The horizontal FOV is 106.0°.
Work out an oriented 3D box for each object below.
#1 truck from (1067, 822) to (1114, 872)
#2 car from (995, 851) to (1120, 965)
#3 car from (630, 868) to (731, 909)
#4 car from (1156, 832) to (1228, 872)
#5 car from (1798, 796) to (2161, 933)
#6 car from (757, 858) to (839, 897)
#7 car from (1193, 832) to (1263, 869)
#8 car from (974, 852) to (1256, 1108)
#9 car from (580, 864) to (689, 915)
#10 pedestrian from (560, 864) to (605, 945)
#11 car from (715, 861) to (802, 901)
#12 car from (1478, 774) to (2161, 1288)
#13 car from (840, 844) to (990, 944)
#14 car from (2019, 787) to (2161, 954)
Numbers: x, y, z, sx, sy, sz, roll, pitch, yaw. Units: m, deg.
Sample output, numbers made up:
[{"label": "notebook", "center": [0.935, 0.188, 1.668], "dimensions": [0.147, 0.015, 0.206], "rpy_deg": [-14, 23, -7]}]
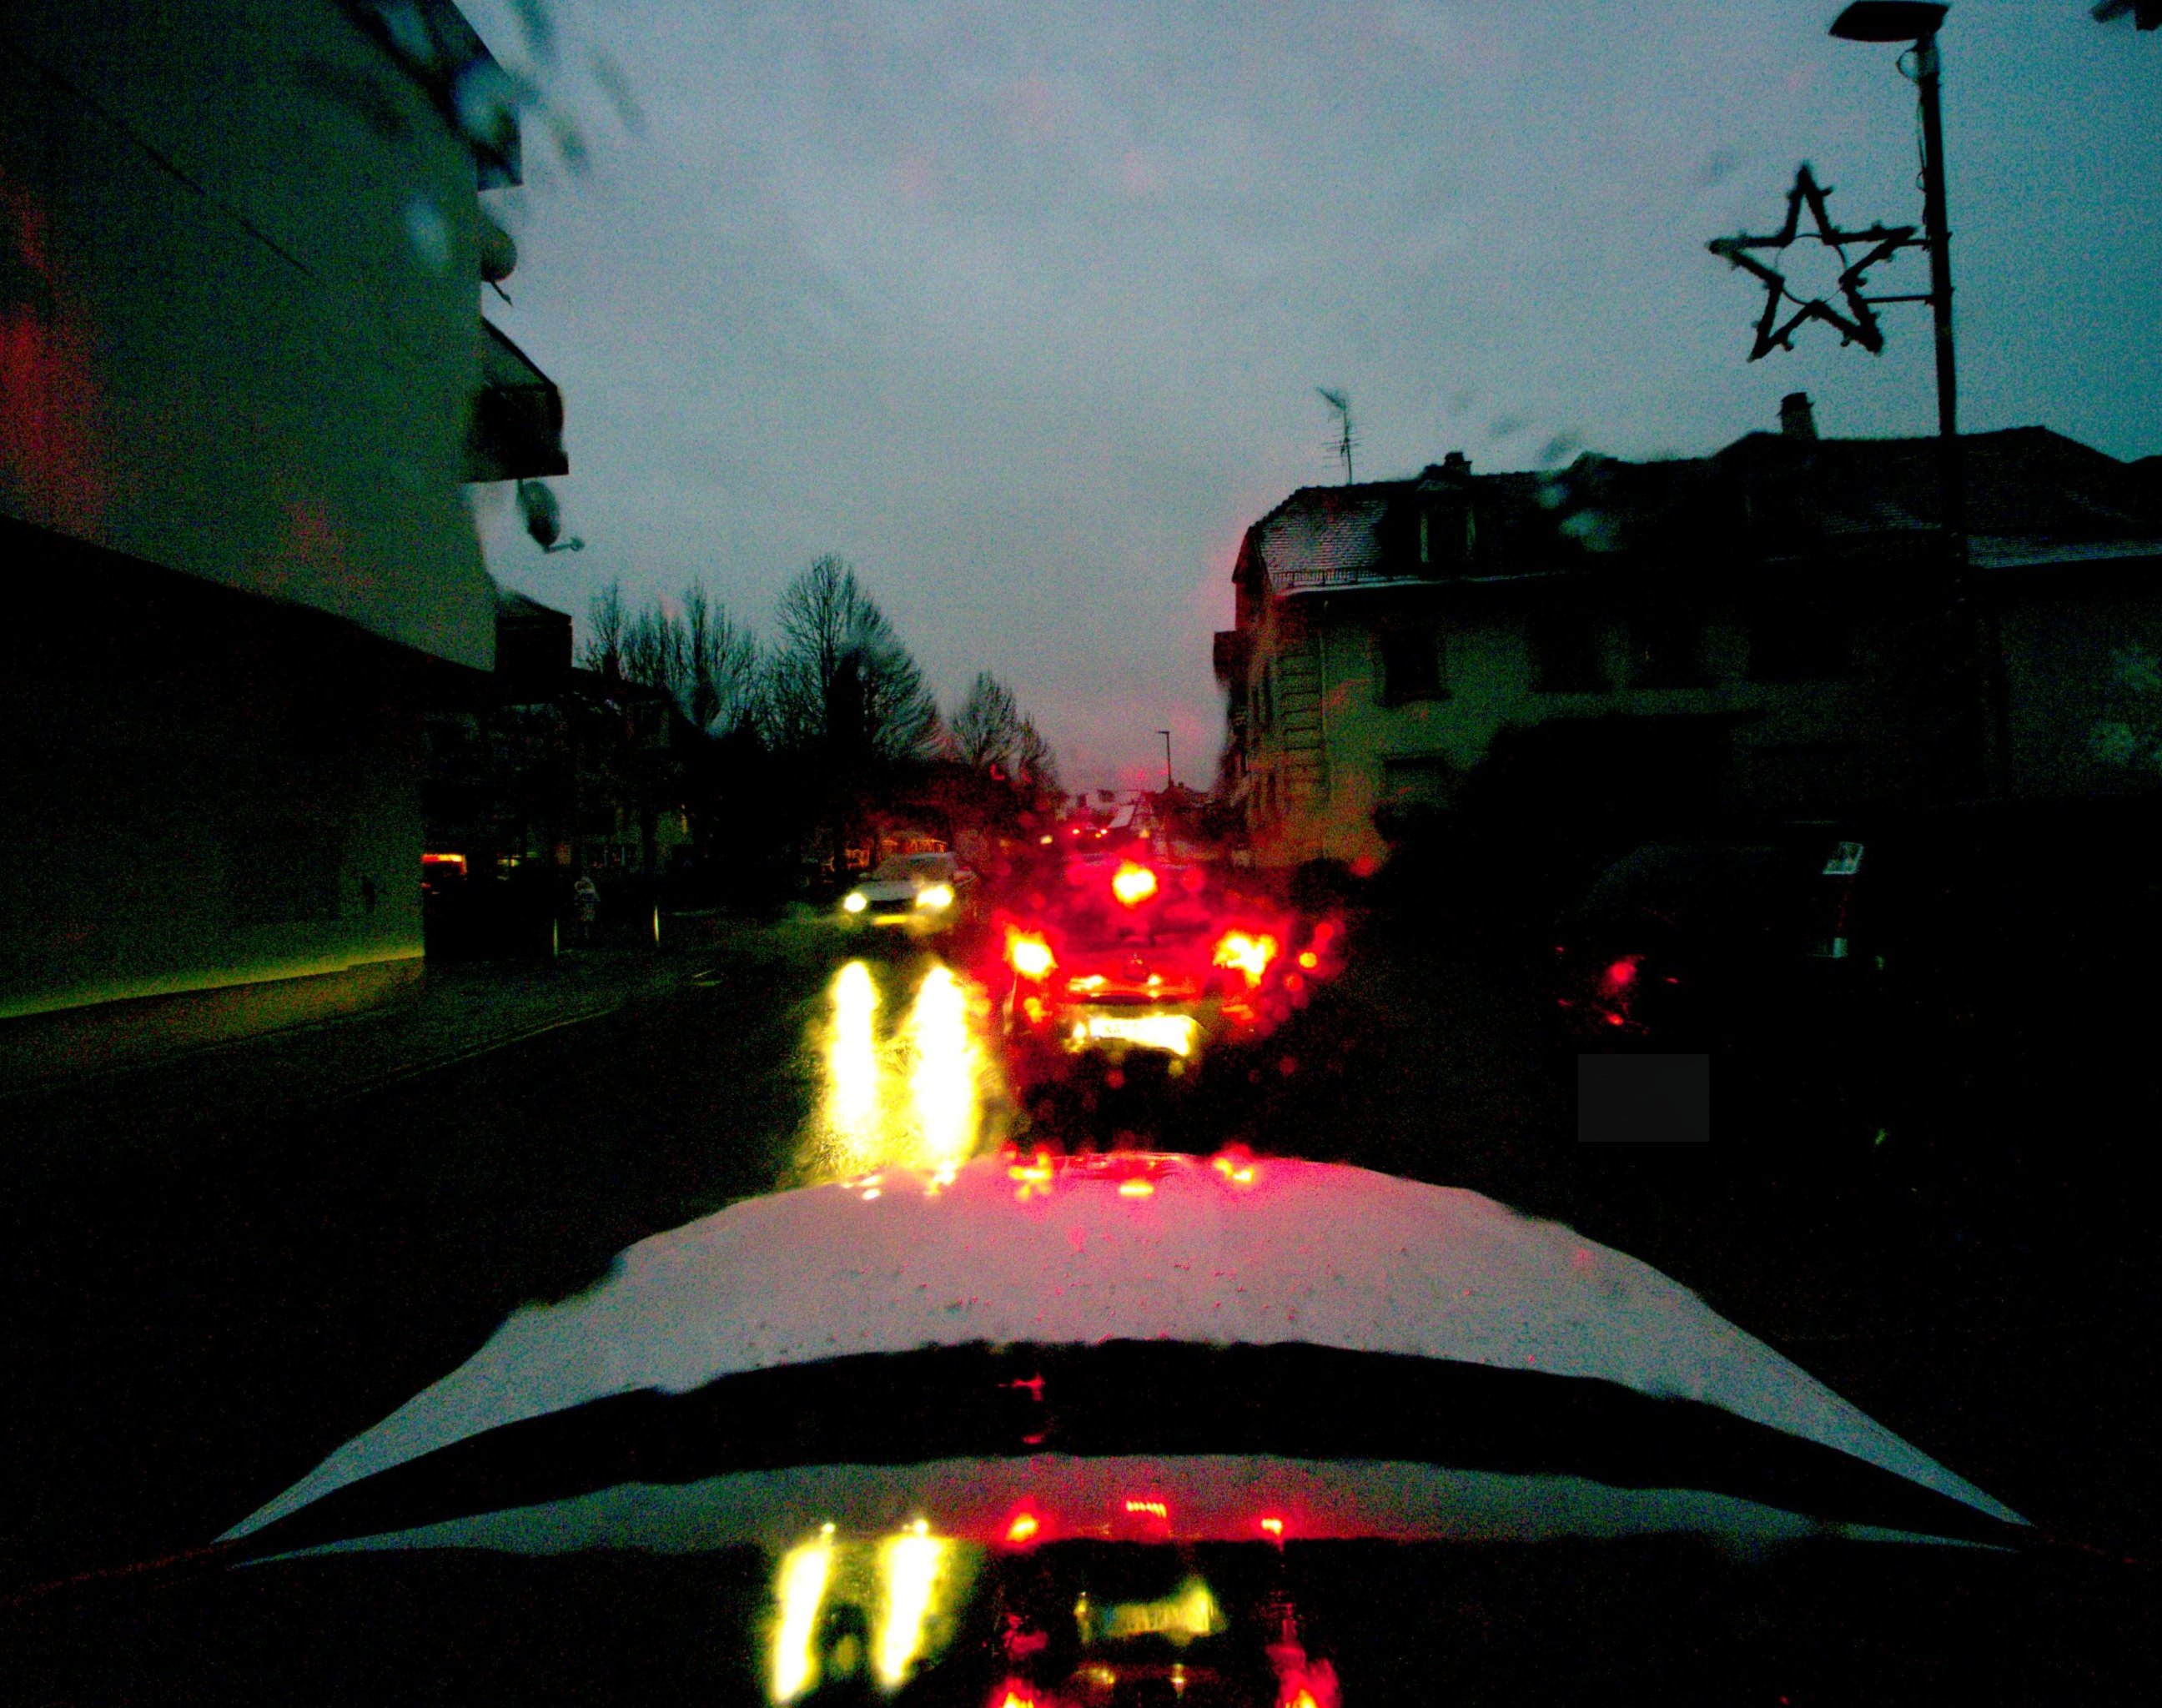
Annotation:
[{"label": "truck", "center": [0.705, -0.471, 56.496], "dimensions": [3.004, 3.128, 8.002], "rpy_deg": [-1, 0, 1]}, {"label": "car", "center": [-0.303, 0.719, 12.521], "dimensions": [1.632, 1.481, 3.271], "rpy_deg": [-1, 0, 0]}, {"label": "car", "center": [-18.175, 1.563, 36.972], "dimensions": [3.953, 1.730, 1.829], "rpy_deg": [-2, 0, 21]}, {"label": "car", "center": [6.564, -0.111, 47.956], "dimensions": [4.073, 2.163, 1.918], "rpy_deg": [-2, 0, 8]}, {"label": "car", "center": [12.343, 0.105, 10.735], "dimensions": [3.971, 1.524, 1.938], "rpy_deg": [-3, -1, 2]}, {"label": "car", "center": [-15.661, 1.300, 45.054], "dimensions": [3.953, 1.998, 1.829], "rpy_deg": [-2, 0, 21]}, {"label": "car", "center": [9.037, -0.205, 50.173], "dimensions": [4.073, 2.151, 1.918], "rpy_deg": [-2, 0, 8]}, {"label": "car", "center": [0.253, 0.746, 6.488], "dimensions": [1.632, 1.481, 3.380], "rpy_deg": [-1, 0, 2]}, {"label": "car", "center": [-18.727, 1.471, 34.187], "dimensions": [3.953, 1.988, 1.829], "rpy_deg": [-2, 0, 21]}, {"label": "pedestrian", "center": [-9.395, 0.927, 15.345], "dimensions": [0.653, 1.458, 0.643], "rpy_deg": [-1, 0, -35]}, {"label": "car", "center": [-16.692, 1.392, 42.202], "dimensions": [3.953, 1.910, 1.829], "rpy_deg": [-2, 0, 21]}, {"label": "car", "center": [4.089, 0.502, 3.575], "dimensions": [3.862, 1.579, 1.680], "rpy_deg": [-3, 0, -4]}, {"label": "car", "center": [-3.004, 0.647, 15.705], "dimensions": [1.804, 1.596, 4.401], "rpy_deg": [-2, 0, 2]}, {"label": "car", "center": [12.130, 0.058, 7.766], "dimensions": [3.972, 1.570, 2.000], "rpy_deg": [-3, -1, 1]}]
